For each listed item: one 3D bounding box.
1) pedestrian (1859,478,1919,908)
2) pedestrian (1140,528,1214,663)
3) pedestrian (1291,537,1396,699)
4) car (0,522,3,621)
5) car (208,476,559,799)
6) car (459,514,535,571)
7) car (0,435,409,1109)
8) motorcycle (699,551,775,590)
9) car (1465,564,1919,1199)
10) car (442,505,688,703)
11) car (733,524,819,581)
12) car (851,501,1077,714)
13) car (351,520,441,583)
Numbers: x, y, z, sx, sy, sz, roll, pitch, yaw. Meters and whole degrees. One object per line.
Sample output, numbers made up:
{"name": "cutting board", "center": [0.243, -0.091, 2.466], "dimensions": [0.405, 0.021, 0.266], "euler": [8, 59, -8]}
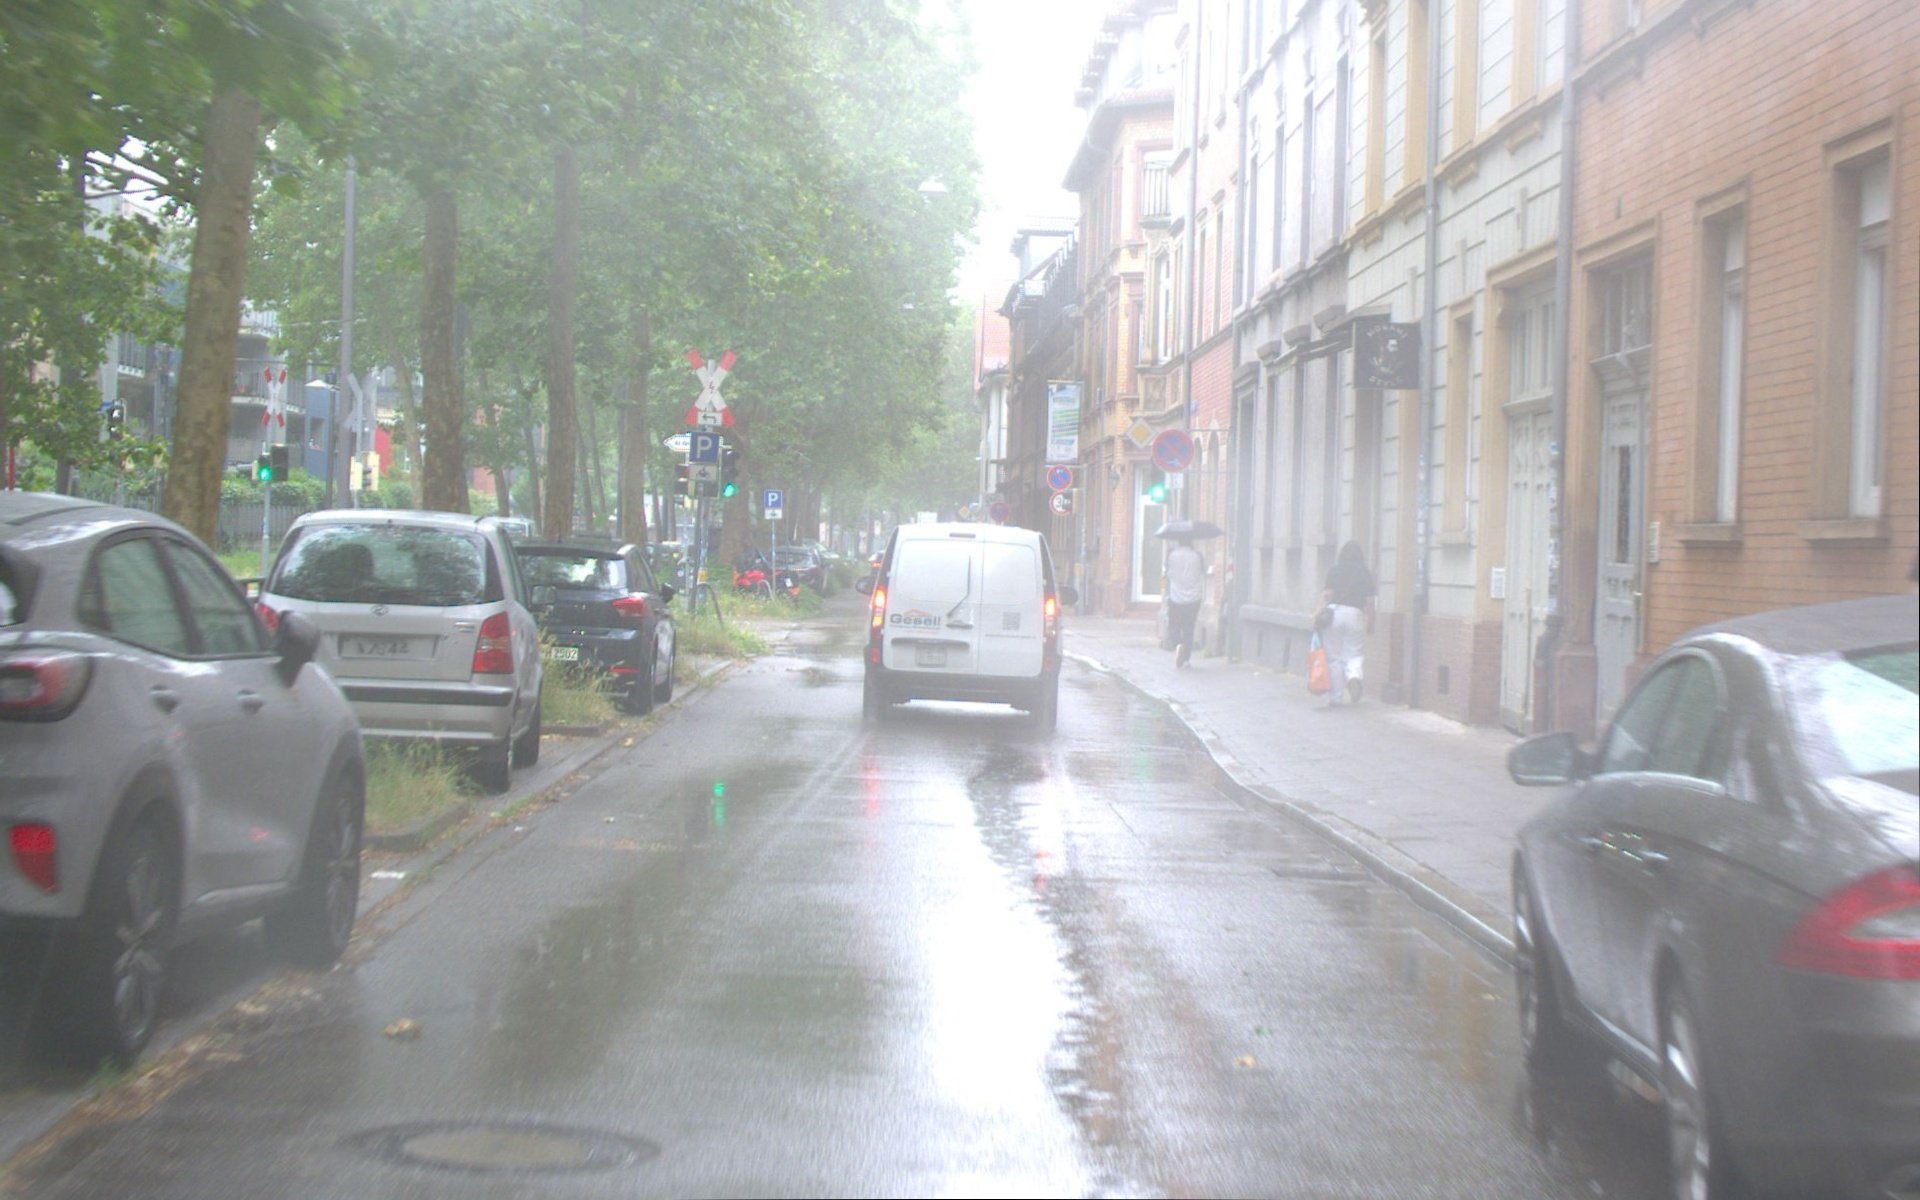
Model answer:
{"name": "pedestrian", "center": [4.008, 0.352, 13.723], "dimensions": [0.638, 1.679, 0.603], "euler": [-1, 1, -2]}
{"name": "pedestrian", "center": [2.811, -0.068, 44.577], "dimensions": [0.840, 1.710, 1.108], "euler": [-2, 1, 0]}
{"name": "pedestrian", "center": [3.659, 0.158, 32.864], "dimensions": [0.840, 1.506, 1.108], "euler": [-1, 1, 0]}
{"name": "car", "center": [-12.162, -0.111, 38.222], "dimensions": [1.993, 1.607, 4.000], "euler": [2, 1, -2]}
{"name": "car", "center": [-3.333, 0.151, 20.447], "dimensions": [1.623, 1.676, 3.660], "euler": [3, 2, -4]}
{"name": "car", "center": [-13.590, -1.704, 100.811], "dimensions": [1.993, 1.575, 4.001], "euler": [2, 1, -10]}
{"name": "car", "center": [-2.926, 0.371, 10.526], "dimensions": [1.698, 1.630, 4.355], "euler": [2, 1, 1]}
{"name": "motorcycle", "center": [-5.289, -0.713, 81.710], "dimensions": [1.706, 0.862, 0.577], "euler": [2, 1, 4]}
{"name": "car", "center": [2.463, 0.639, 8.613], "dimensions": [1.814, 1.416, 4.696], "euler": [-2, 1, 2]}
{"name": "car", "center": [-3.339, 0.008, 29.734], "dimensions": [1.649, 1.495, 4.119], "euler": [4, 1, -1]}
{"name": "car", "center": [-4.806, -1.262, 90.423], "dimensions": [1.993, 1.382, 4.000], "euler": [2, 1, 0]}
{"name": "car", "center": [0.018, 0.076, 31.970], "dimensions": [1.903, 1.791, 4.113], "euler": [2, 0, 0]}
{"name": "car", "center": [-13.596, -1.183, 83.088], "dimensions": [1.993, 1.410, 4.001], "euler": [2, 1, -8]}
